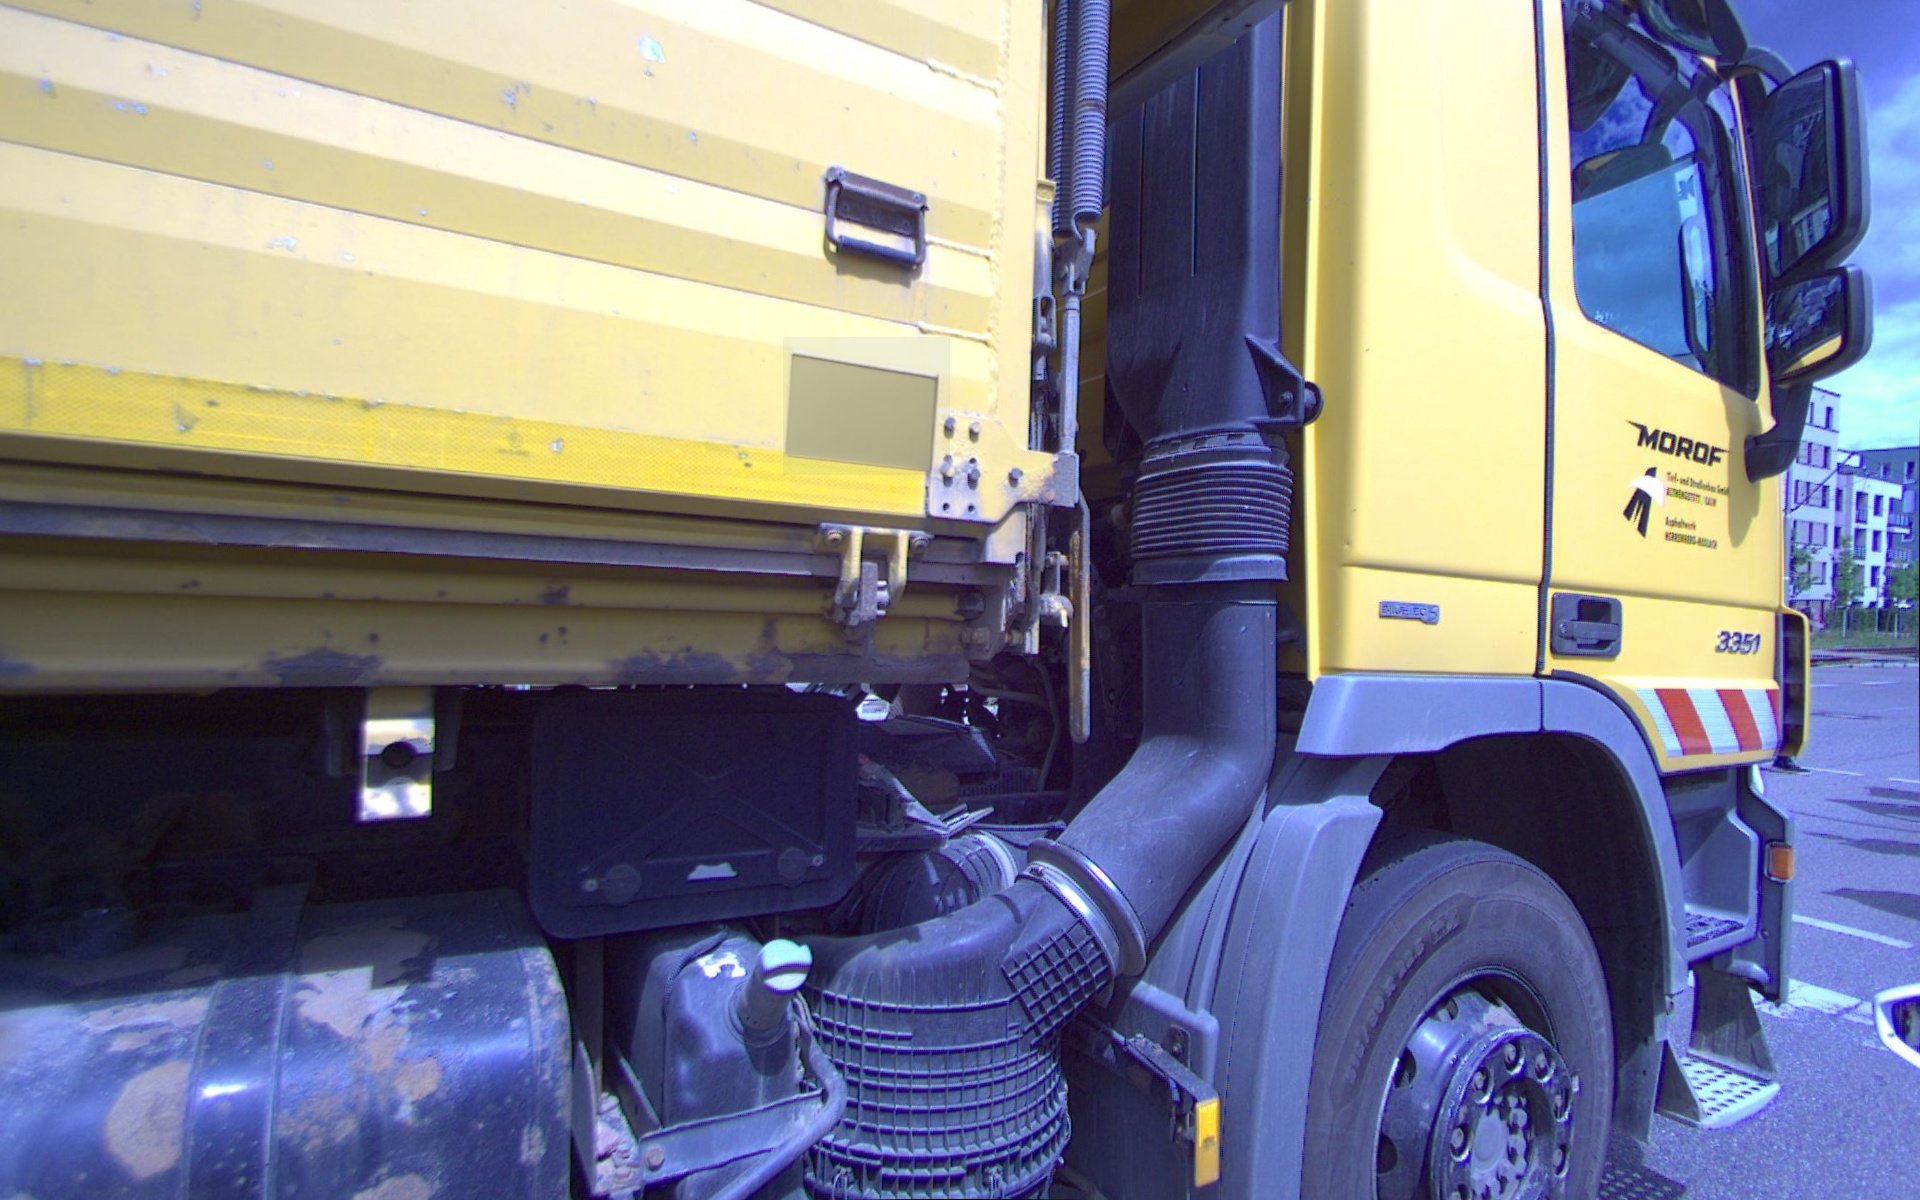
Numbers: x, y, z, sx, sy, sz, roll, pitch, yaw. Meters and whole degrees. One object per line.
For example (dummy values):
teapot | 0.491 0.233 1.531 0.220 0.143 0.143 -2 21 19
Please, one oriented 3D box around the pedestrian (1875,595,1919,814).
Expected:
pedestrian | 7.656 0.785 7.538 0.918 1.628 0.908 1 0 -29

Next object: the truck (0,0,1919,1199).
truck | -1.733 -0.230 1.655 7.916 3.439 3.033 1 0 -32

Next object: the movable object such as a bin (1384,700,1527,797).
movable object such as a bin | 4.187 1.233 8.511 0.768 0.671 0.792 1 0 -29

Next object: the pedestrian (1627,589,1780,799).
pedestrian | 6.285 0.745 8.503 0.759 1.656 0.862 1 0 -38

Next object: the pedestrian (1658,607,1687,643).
pedestrian | 30.999 1.068 43.705 0.628 1.536 0.827 1 0 -30

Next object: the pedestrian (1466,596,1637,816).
pedestrian | 4.559 0.760 7.767 0.737 1.575 0.877 1 0 -29

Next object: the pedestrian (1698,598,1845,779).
pedestrian | 7.770 0.798 9.623 0.899 1.618 0.886 1 0 -36

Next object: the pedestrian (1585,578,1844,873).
pedestrian | 4.750 0.715 6.364 0.918 1.670 1.016 1 0 -29

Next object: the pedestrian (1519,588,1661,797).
pedestrian | 5.344 0.736 8.533 0.727 1.662 0.815 1 0 -40

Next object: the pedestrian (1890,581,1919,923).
pedestrian | 5.234 0.749 4.756 0.869 1.670 0.955 1 0 -26
